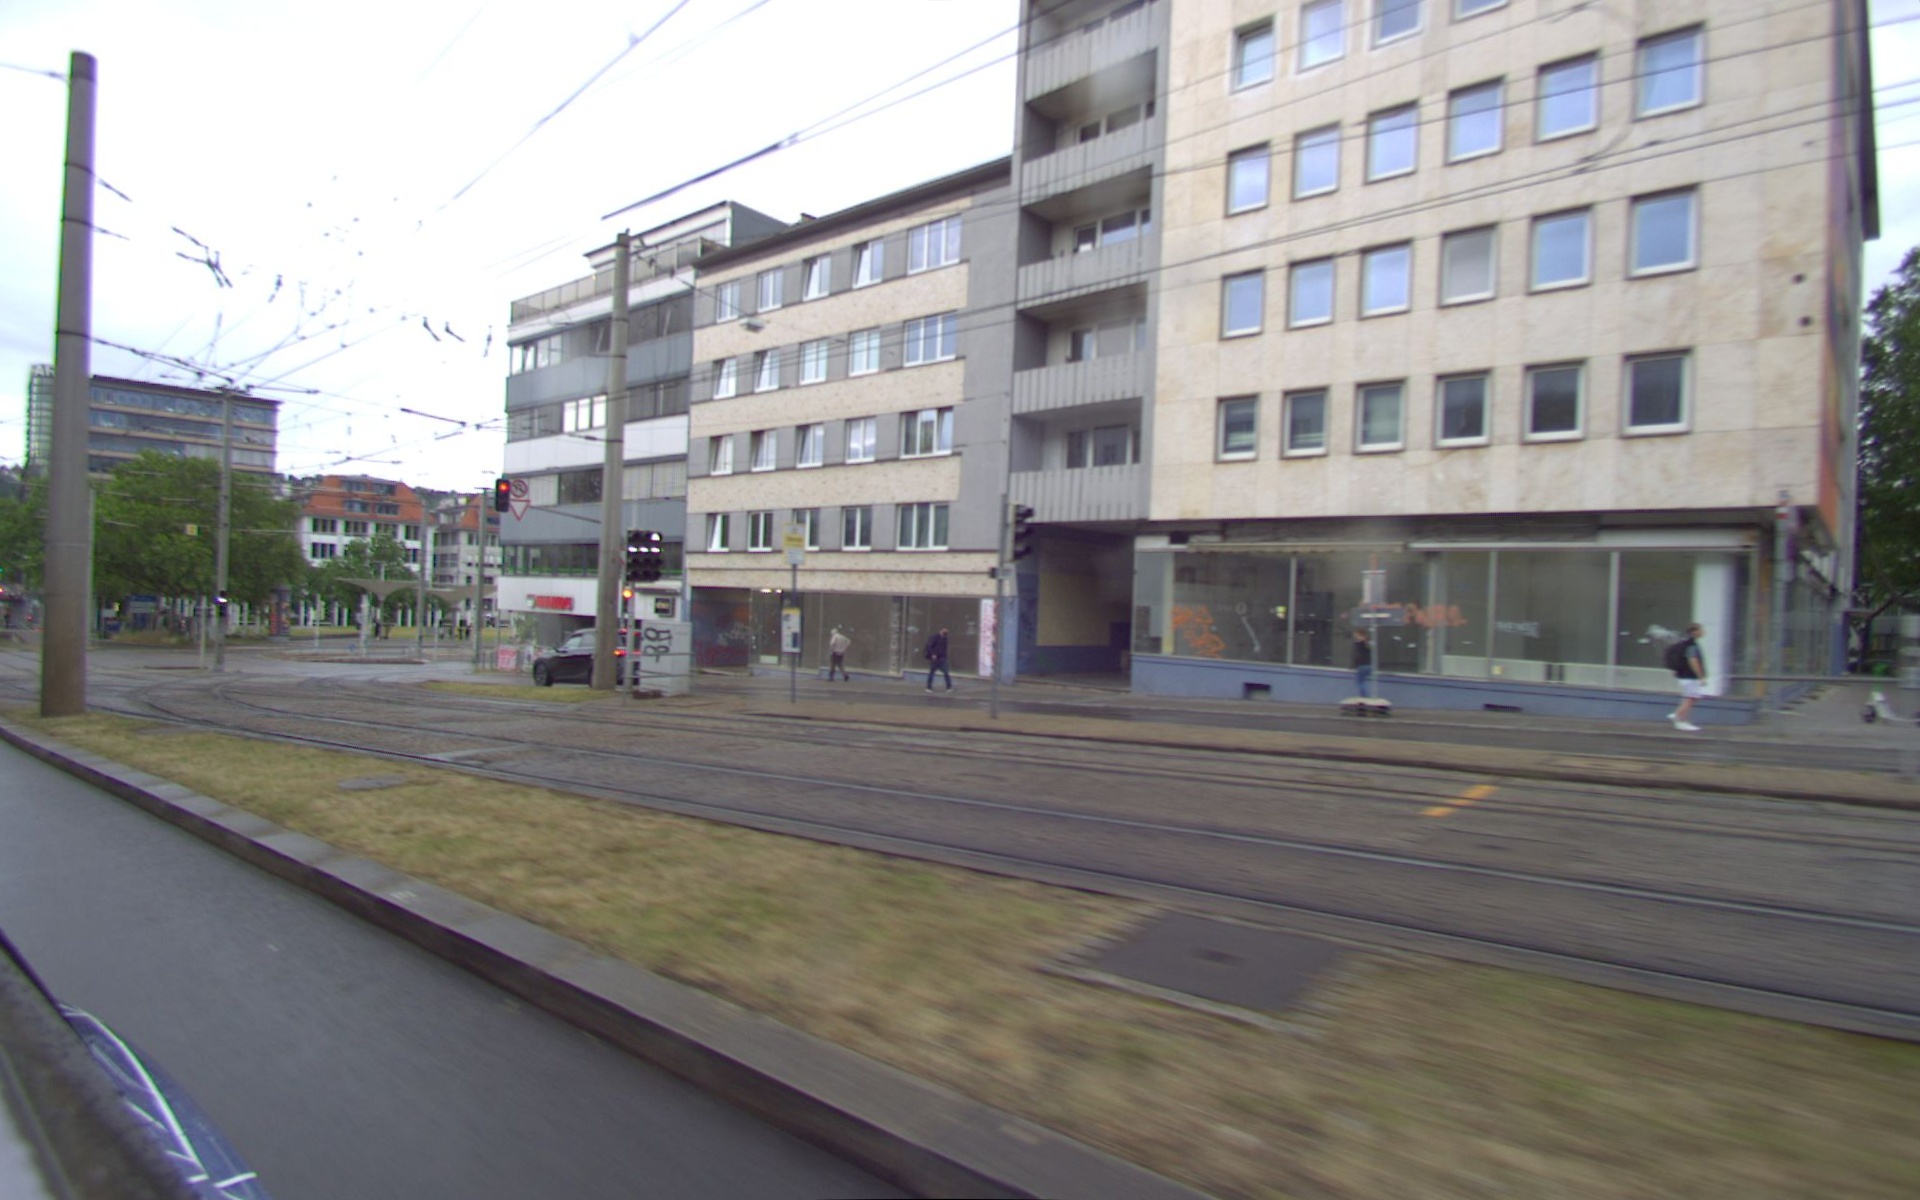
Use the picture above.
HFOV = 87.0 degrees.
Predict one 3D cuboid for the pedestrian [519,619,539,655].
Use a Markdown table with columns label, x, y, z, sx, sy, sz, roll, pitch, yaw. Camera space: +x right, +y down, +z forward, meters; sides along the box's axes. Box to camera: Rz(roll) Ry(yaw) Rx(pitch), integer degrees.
| label | x | y | z | sx | sy | sz | roll | pitch | yaw |
| --- | --- | --- | --- | --- | --- | --- | --- | --- | --- |
| pedestrian | -22.859 | 1.957 | 53.689 | 0.697 | 1.928 | 0.710 | 0 | -2 | 40 |

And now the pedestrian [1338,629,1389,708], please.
| label | x | y | z | sx | sy | sz | roll | pitch | yaw |
| --- | --- | --- | --- | --- | --- | --- | --- | --- | --- |
| pedestrian | 8.192 | 1.370 | 20.544 | 0.775 | 1.560 | 0.670 | -2 | -3 | 39 |

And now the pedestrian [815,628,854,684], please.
| label | x | y | z | sx | sy | sz | roll | pitch | yaw |
| --- | --- | --- | --- | --- | --- | --- | --- | --- | --- |
| pedestrian | -3.857 | 1.706 | 31.123 | 0.997 | 1.694 | 0.672 | -2 | -3 | 39 |

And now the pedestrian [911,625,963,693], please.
| label | x | y | z | sx | sy | sz | roll | pitch | yaw |
| --- | --- | --- | --- | --- | --- | --- | --- | --- | --- |
| pedestrian | -0.590 | 1.511 | 25.982 | 0.998 | 1.694 | 0.878 | -2 | -3 | 41 |

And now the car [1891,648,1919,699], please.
| label | x | y | z | sx | sy | sz | roll | pitch | yaw |
| --- | --- | --- | --- | --- | --- | --- | --- | --- | --- |
| car | 33.800 | 2.459 | 33.872 | 3.936 | 1.652 | 1.755 | 0 | -2 | -9 |

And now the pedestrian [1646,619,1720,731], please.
| label | x | y | z | sx | sy | sz | roll | pitch | yaw |
| --- | --- | --- | --- | --- | --- | --- | --- | --- | --- |
| pedestrian | 11.733 | 1.199 | 16.424 | 0.909 | 1.751 | 0.591 | -2 | -3 | 39 |

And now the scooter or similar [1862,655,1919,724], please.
| label | x | y | z | sx | sy | sz | roll | pitch | yaw |
| --- | --- | --- | --- | --- | --- | --- | --- | --- | --- |
| scooter or similar | 16.587 | 1.542 | 17.526 | 0.558 | 1.154 | 1.488 | 0 | -2 | 0 |

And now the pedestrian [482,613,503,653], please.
| label | x | y | z | sx | sy | sz | roll | pitch | yaw |
| --- | --- | --- | --- | --- | --- | --- | --- | --- | --- |
| pedestrian | -23.014 | 1.638 | 49.823 | 0.687 | 1.928 | 0.720 | 1 | -2 | -8 |

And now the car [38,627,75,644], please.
| label | x | y | z | sx | sy | sz | roll | pitch | yaw |
| --- | --- | --- | --- | --- | --- | --- | --- | --- | --- |
| car | -86.265 | 3.335 | 96.580 | 4.730 | 1.517 | 2.076 | 0 | -2 | 42 |

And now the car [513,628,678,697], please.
| label | x | y | z | sx | sy | sz | roll | pitch | yaw |
| --- | --- | --- | --- | --- | --- | --- | --- | --- | --- |
| car | -9.761 | 1.619 | 26.975 | 4.519 | 1.686 | 1.975 | -2 | -3 | 37 |
